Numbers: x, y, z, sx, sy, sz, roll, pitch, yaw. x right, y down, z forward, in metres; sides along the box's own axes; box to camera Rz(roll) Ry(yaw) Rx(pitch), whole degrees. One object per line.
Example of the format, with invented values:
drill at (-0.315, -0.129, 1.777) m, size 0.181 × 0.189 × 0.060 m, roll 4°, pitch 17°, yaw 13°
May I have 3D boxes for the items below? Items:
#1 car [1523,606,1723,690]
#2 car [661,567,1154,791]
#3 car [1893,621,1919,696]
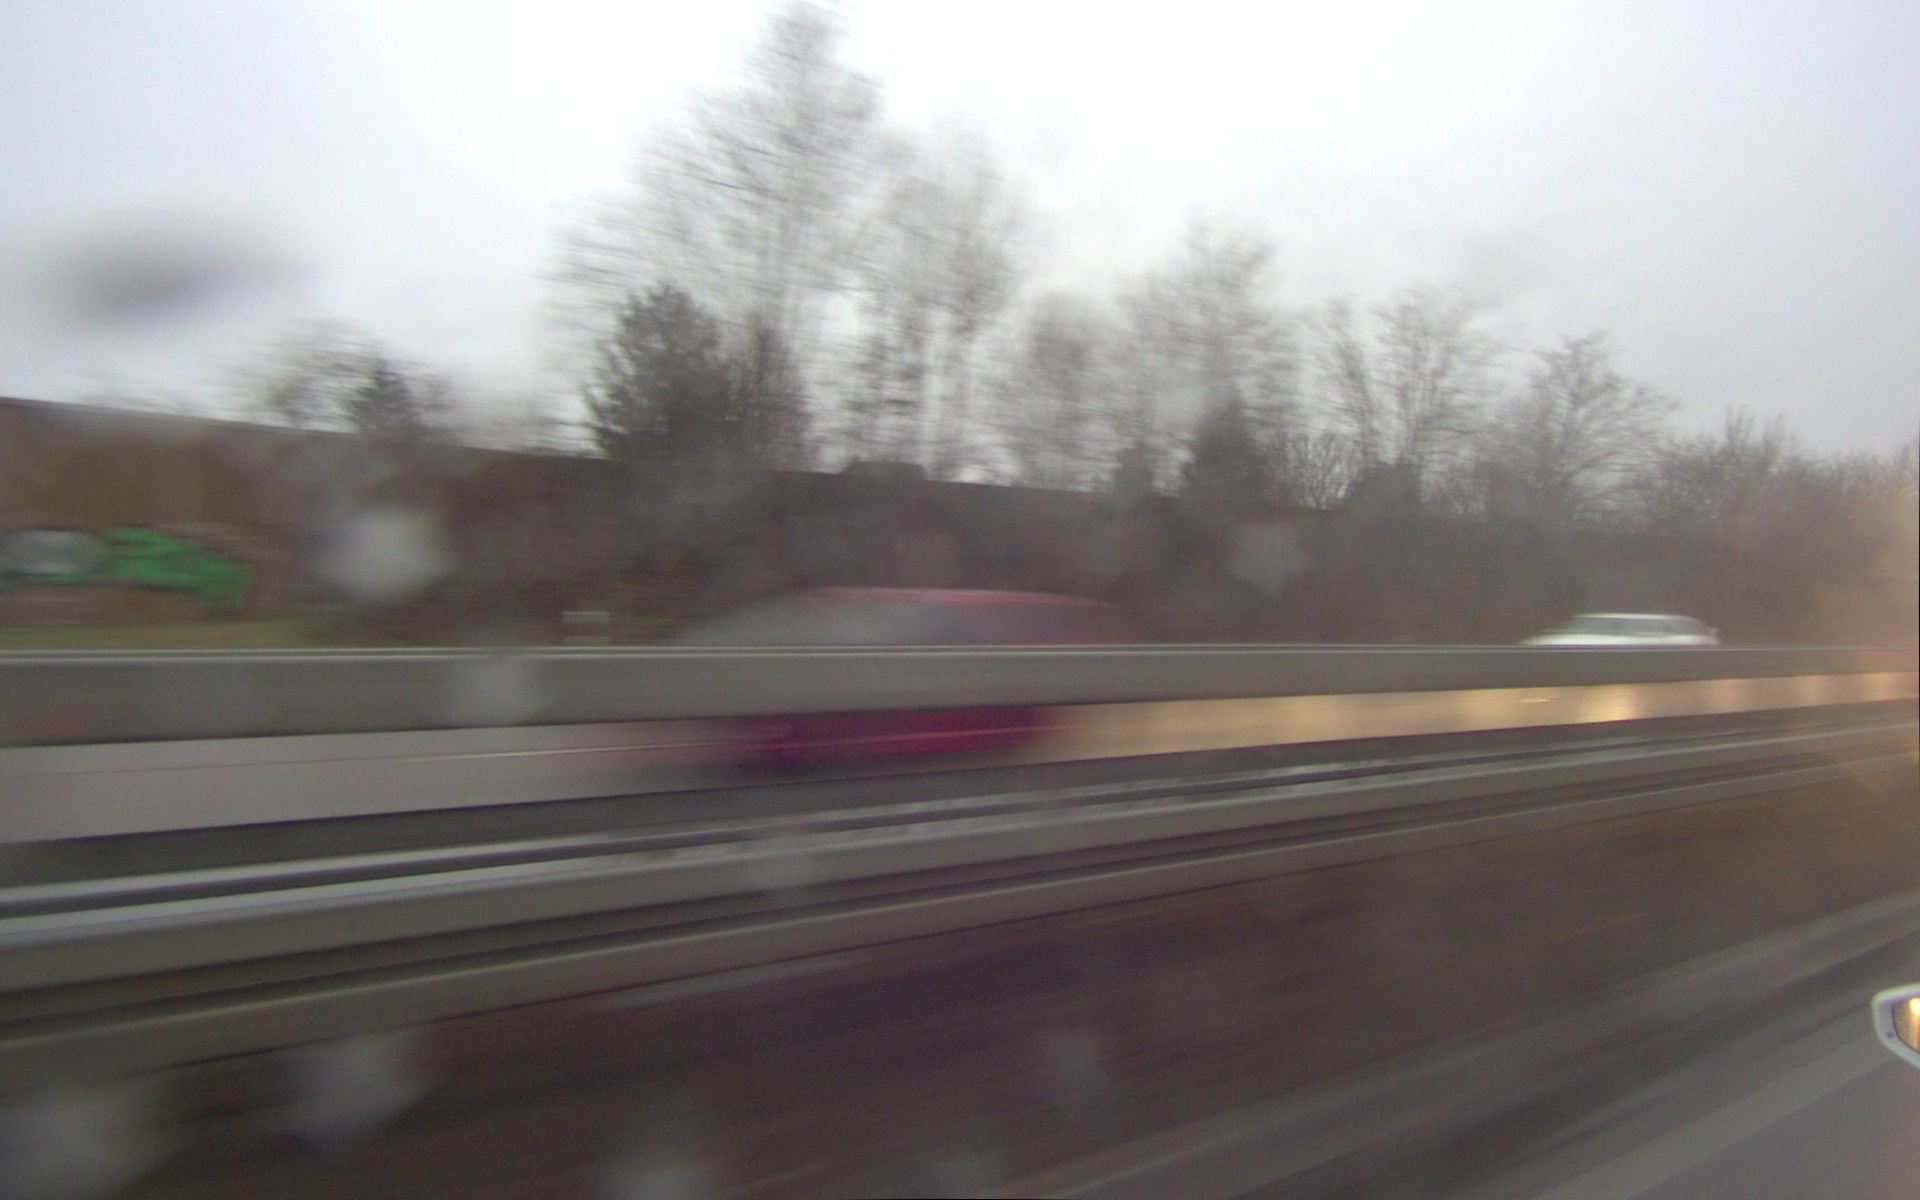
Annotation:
car at (14.238, 0.999, 21.482) m, size 4.796 × 1.587 × 1.695 m, roll 2°, pitch 1°, yaw -32°
car at (-0.389, 0.559, 8.510) m, size 3.799 × 1.514 × 1.727 m, roll 2°, pitch 1°, yaw -31°
car at (21.627, 1.250, 21.231) m, size 4.547 × 1.504 × 1.607 m, roll 2°, pitch 1°, yaw -32°
